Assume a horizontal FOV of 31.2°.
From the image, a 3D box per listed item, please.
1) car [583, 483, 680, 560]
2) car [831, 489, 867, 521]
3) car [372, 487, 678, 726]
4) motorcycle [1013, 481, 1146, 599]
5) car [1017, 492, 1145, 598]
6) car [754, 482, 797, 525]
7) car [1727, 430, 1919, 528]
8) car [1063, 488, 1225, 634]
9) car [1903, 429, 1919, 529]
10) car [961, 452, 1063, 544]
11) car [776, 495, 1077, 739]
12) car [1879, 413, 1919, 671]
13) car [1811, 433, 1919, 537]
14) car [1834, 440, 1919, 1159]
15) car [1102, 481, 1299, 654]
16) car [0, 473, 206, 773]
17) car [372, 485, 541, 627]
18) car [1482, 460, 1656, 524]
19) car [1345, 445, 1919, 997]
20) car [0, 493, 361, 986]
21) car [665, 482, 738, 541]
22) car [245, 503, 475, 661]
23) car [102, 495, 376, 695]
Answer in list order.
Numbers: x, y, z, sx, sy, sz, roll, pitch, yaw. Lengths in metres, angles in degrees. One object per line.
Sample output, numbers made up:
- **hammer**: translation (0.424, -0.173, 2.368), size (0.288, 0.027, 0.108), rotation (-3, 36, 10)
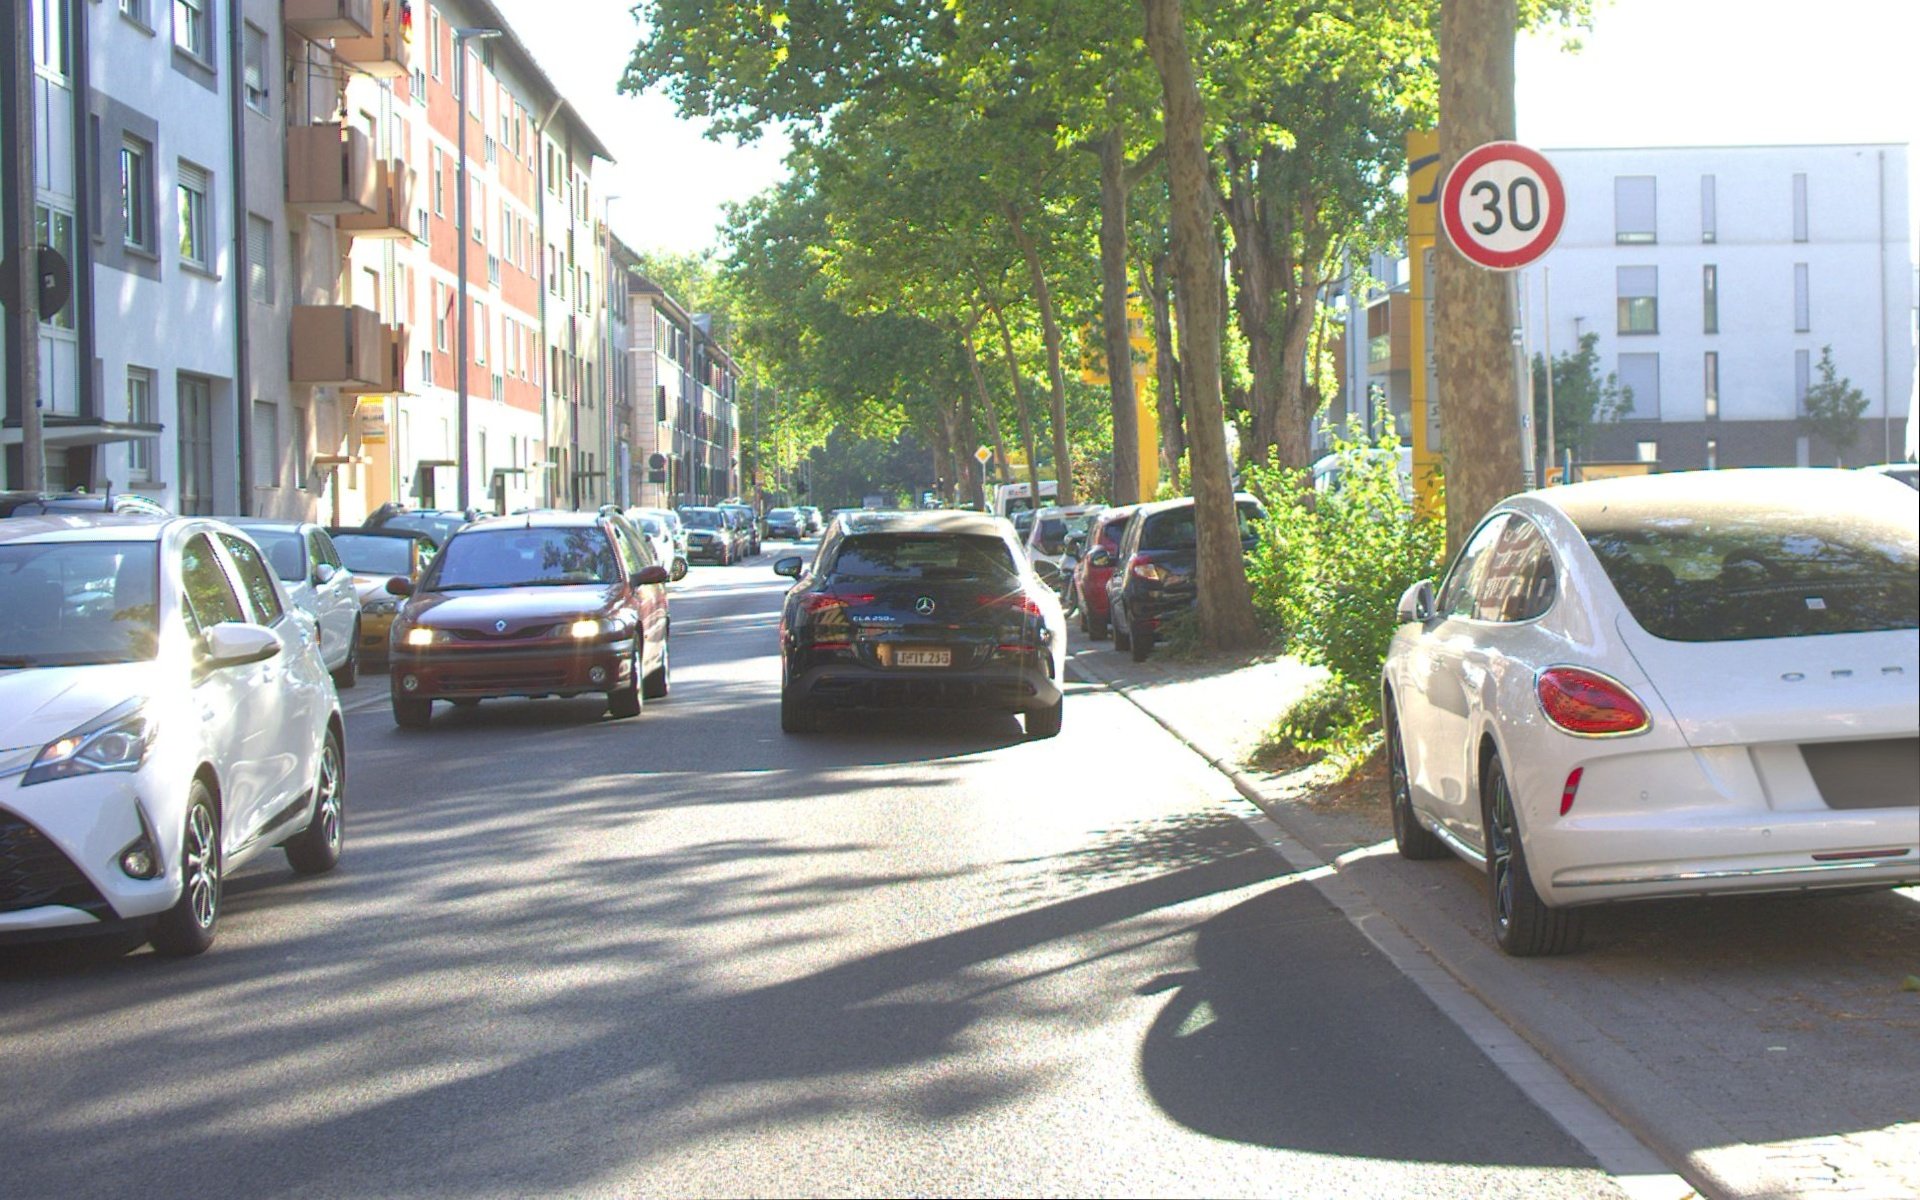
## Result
- **car**: translation (-7.130, -1.723, 74.955), size (1.712, 1.556, 3.801), rotation (3, 2, -1)
- **car**: translation (-5.943, -5.074, 184.150), size (1.901, 1.655, 4.000), rotation (0, 1, -1)
- **car**: translation (-3.097, -0.028, 25.254), size (1.663, 1.518, 4.412), rotation (-2, 2, 0)
- **motorcycle**: translation (1.583, -0.799, 45.683), size (1.641, 1.552, 0.612), rotation (0, 1, -22)
- **car**: translation (1.828, -0.863, 52.913), size (1.722, 1.552, 3.601), rotation (1, 1, -2)
- **car**: translation (-8.680, -4.555, 162.169), size (1.907, 1.941, 4.000), rotation (0, 1, -1)
- **car**: translation (16.413, -2.252, 63.802), size (3.824, 1.706, 1.841), rotation (-2, 2, -18)
- **car**: translation (2.070, -0.472, 39.463), size (1.559, 1.590, 3.601), rotation (1, 1, -2)
- **car**: translation (17.013, -1.976, 54.491), size (3.825, 1.583, 1.698), rotation (-3, 2, -27)
- **car**: translation (1.152, -2.294, 78.350), size (1.993, 2.007, 4.001), rotation (0, 1, -4)
- **car**: translation (-0.139, 0.040, 22.858), size (1.744, 1.438, 3.969), rotation (1, 2, 3)
- **car**: translation (7.714, -0.449, 21.616), size (3.808, 1.573, 1.746), rotation (-4, 3, -37)
- **car**: translation (16.714, -2.004, 58.976), size (3.825, 1.706, 1.841), rotation (-3, 2, -27)
- **car**: translation (2.784, 0.409, 5.422), size (1.635, 1.463, 4.022), rotation (-3, 1, -1)
- **car**: translation (2.299, -0.348, 33.598), size (1.559, 1.590, 3.601), rotation (1, 1, -2)
- **car**: translation (-5.869, 0.047, 21.147), size (1.596, 1.635, 4.413), rotation (1, 2, -2)
- **car**: translation (-6.118, -0.580, 42.075), size (1.596, 1.624, 3.838), rotation (1, 2, -2)
- **car**: translation (15.185, -2.689, 85.839), size (3.986, 1.524, 1.807), rotation (0, 1, -2)
- **car**: translation (2.562, 0.276, 12.275), size (1.810, 1.533, 4.583), rotation (-4, 1, 1)
- **car**: translation (-3.376, 0.382, 12.734), size (1.639, 1.518, 3.934), rotation (0, 2, 0)
- **car**: translation (-7.218, -2.493, 96.248), size (1.712, 1.556, 3.801), rotation (3, 2, -1)
- **car**: translation (-5.947, -0.228, 34.482), size (1.596, 1.429, 4.218), rotation (1, 2, -1)
- **car**: translation (-5.975, -0.098, 28.862), size (1.547, 1.518, 4.006), rotation (1, 2, -2)
